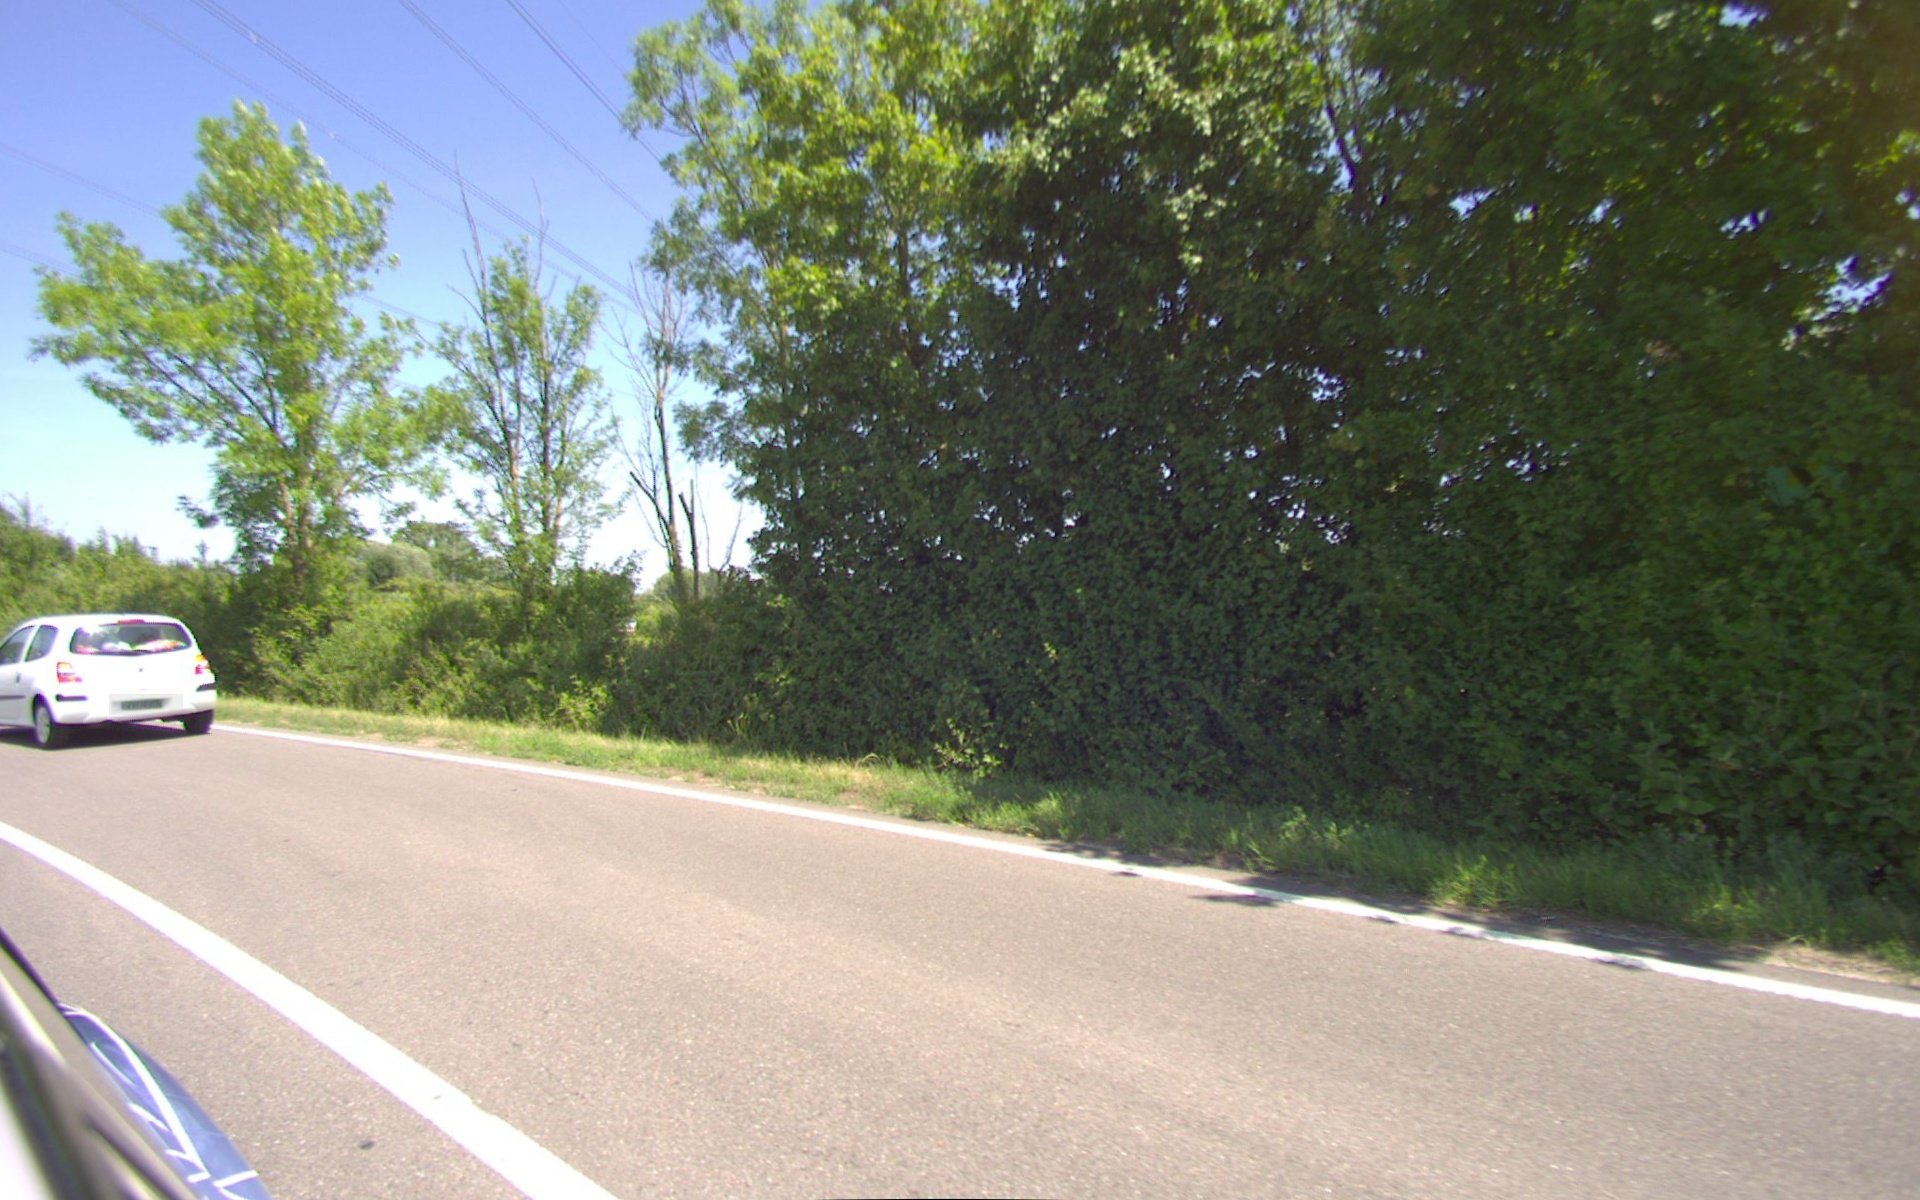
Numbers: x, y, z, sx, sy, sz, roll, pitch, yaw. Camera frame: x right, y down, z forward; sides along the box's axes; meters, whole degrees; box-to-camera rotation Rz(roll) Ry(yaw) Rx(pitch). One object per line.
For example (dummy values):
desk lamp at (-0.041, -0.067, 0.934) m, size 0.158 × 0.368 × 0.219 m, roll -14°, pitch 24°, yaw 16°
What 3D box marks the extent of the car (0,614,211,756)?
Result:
car at (-10.855, 0.928, 12.361) m, size 3.595 × 1.453 × 1.525 m, roll 0°, pitch 1°, yaw 32°
